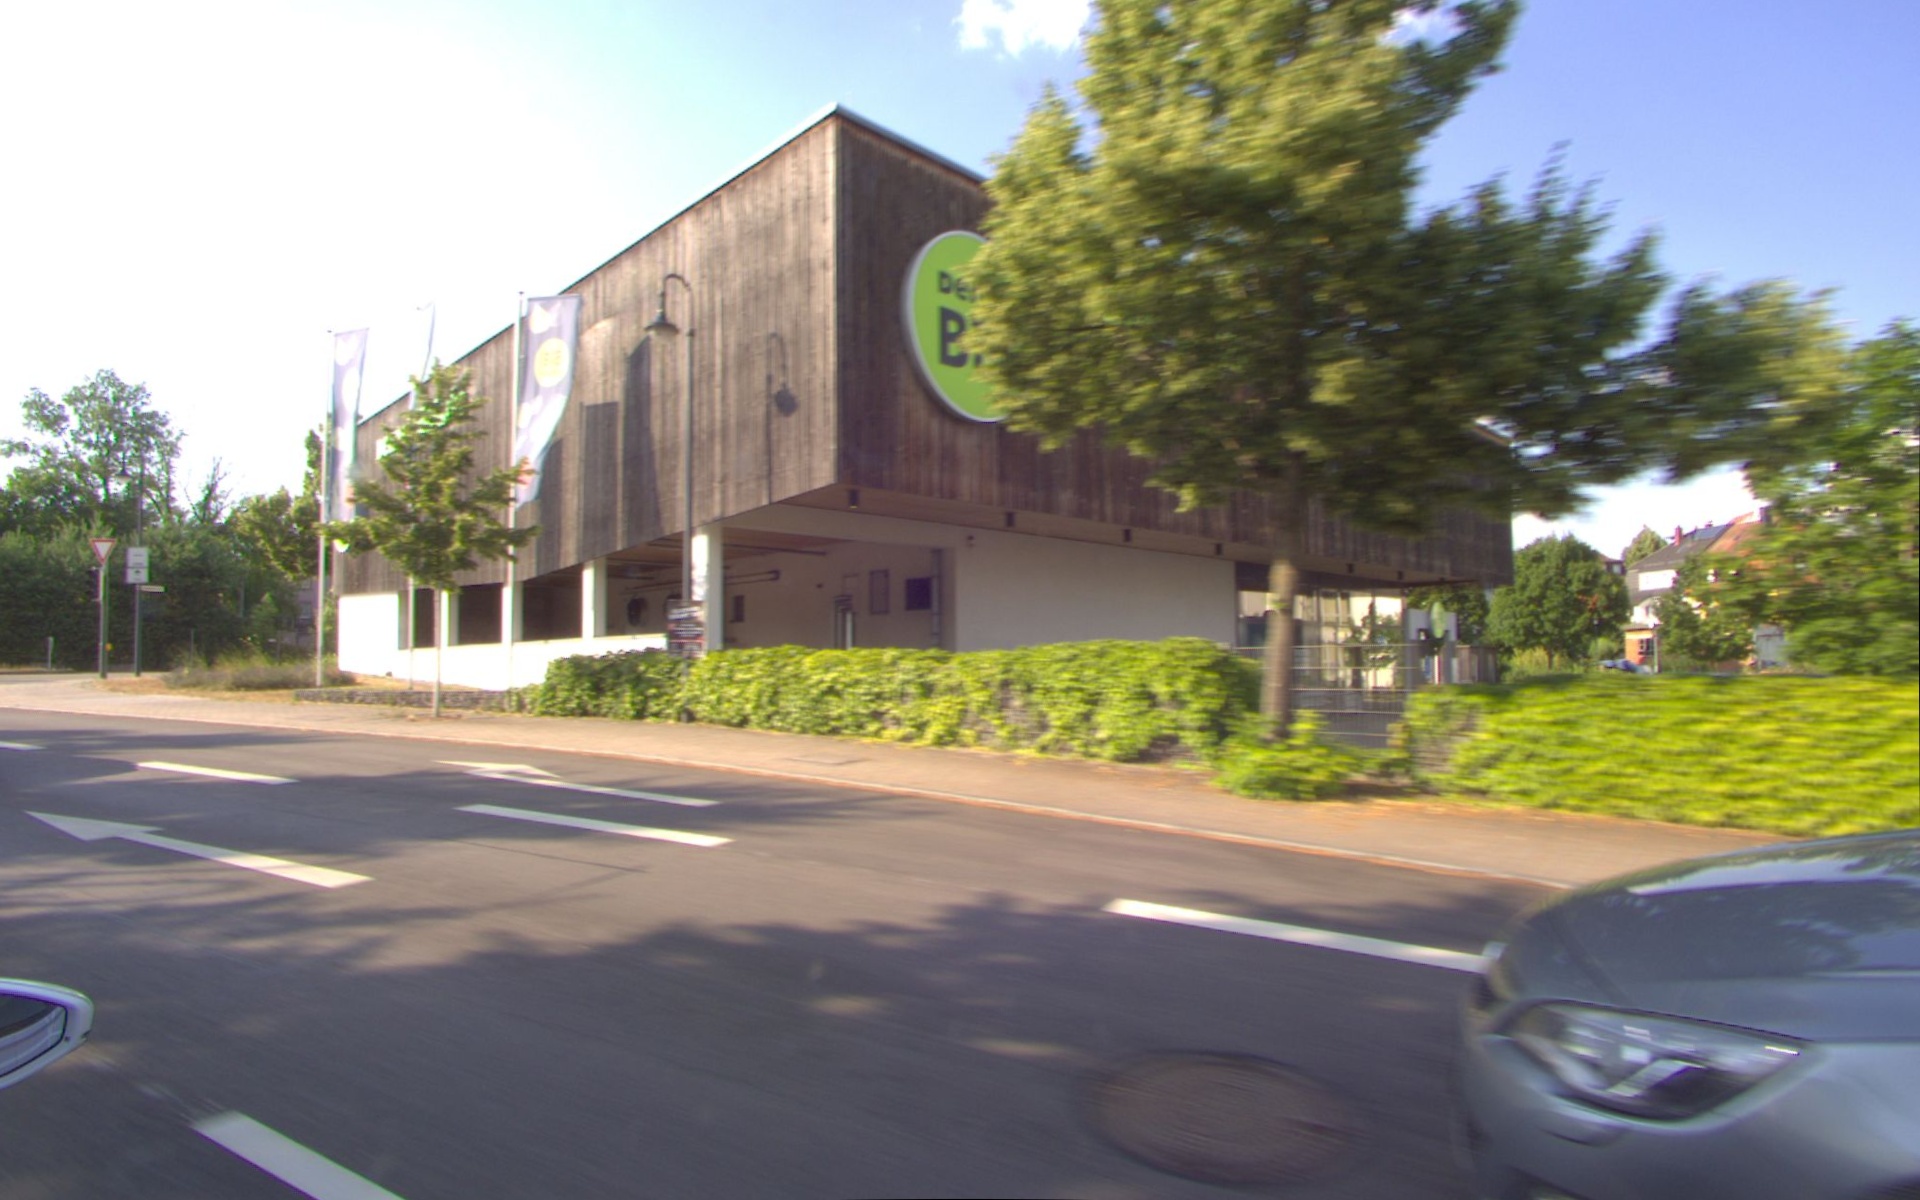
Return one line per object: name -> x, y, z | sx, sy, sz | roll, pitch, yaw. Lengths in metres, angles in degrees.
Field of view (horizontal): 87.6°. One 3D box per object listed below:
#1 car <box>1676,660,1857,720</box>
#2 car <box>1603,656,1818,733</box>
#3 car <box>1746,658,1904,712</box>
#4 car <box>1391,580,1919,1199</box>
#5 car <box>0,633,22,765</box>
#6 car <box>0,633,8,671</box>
car -> 23.566, 2.577, 29.340 | 3.960, 1.570, 1.982 | -2, -3, 45
car -> 18.124, 2.206, 24.273 | 3.960, 1.648, 1.982 | -2, -3, 45
car -> 29.285, 2.822, 33.973 | 3.960, 1.648, 1.982 | -2, -3, 45
car -> 3.023, 0.736, 1.379 | 4.246, 1.509, 1.717 | 0, -1, 34
car -> -12.292, 1.075, 11.025 | 4.292, 1.381, 1.917 | -2, -2, 33
car -> -42.122, 2.140, 40.966 | 4.209, 1.587, 1.784 | 1, -2, -29
